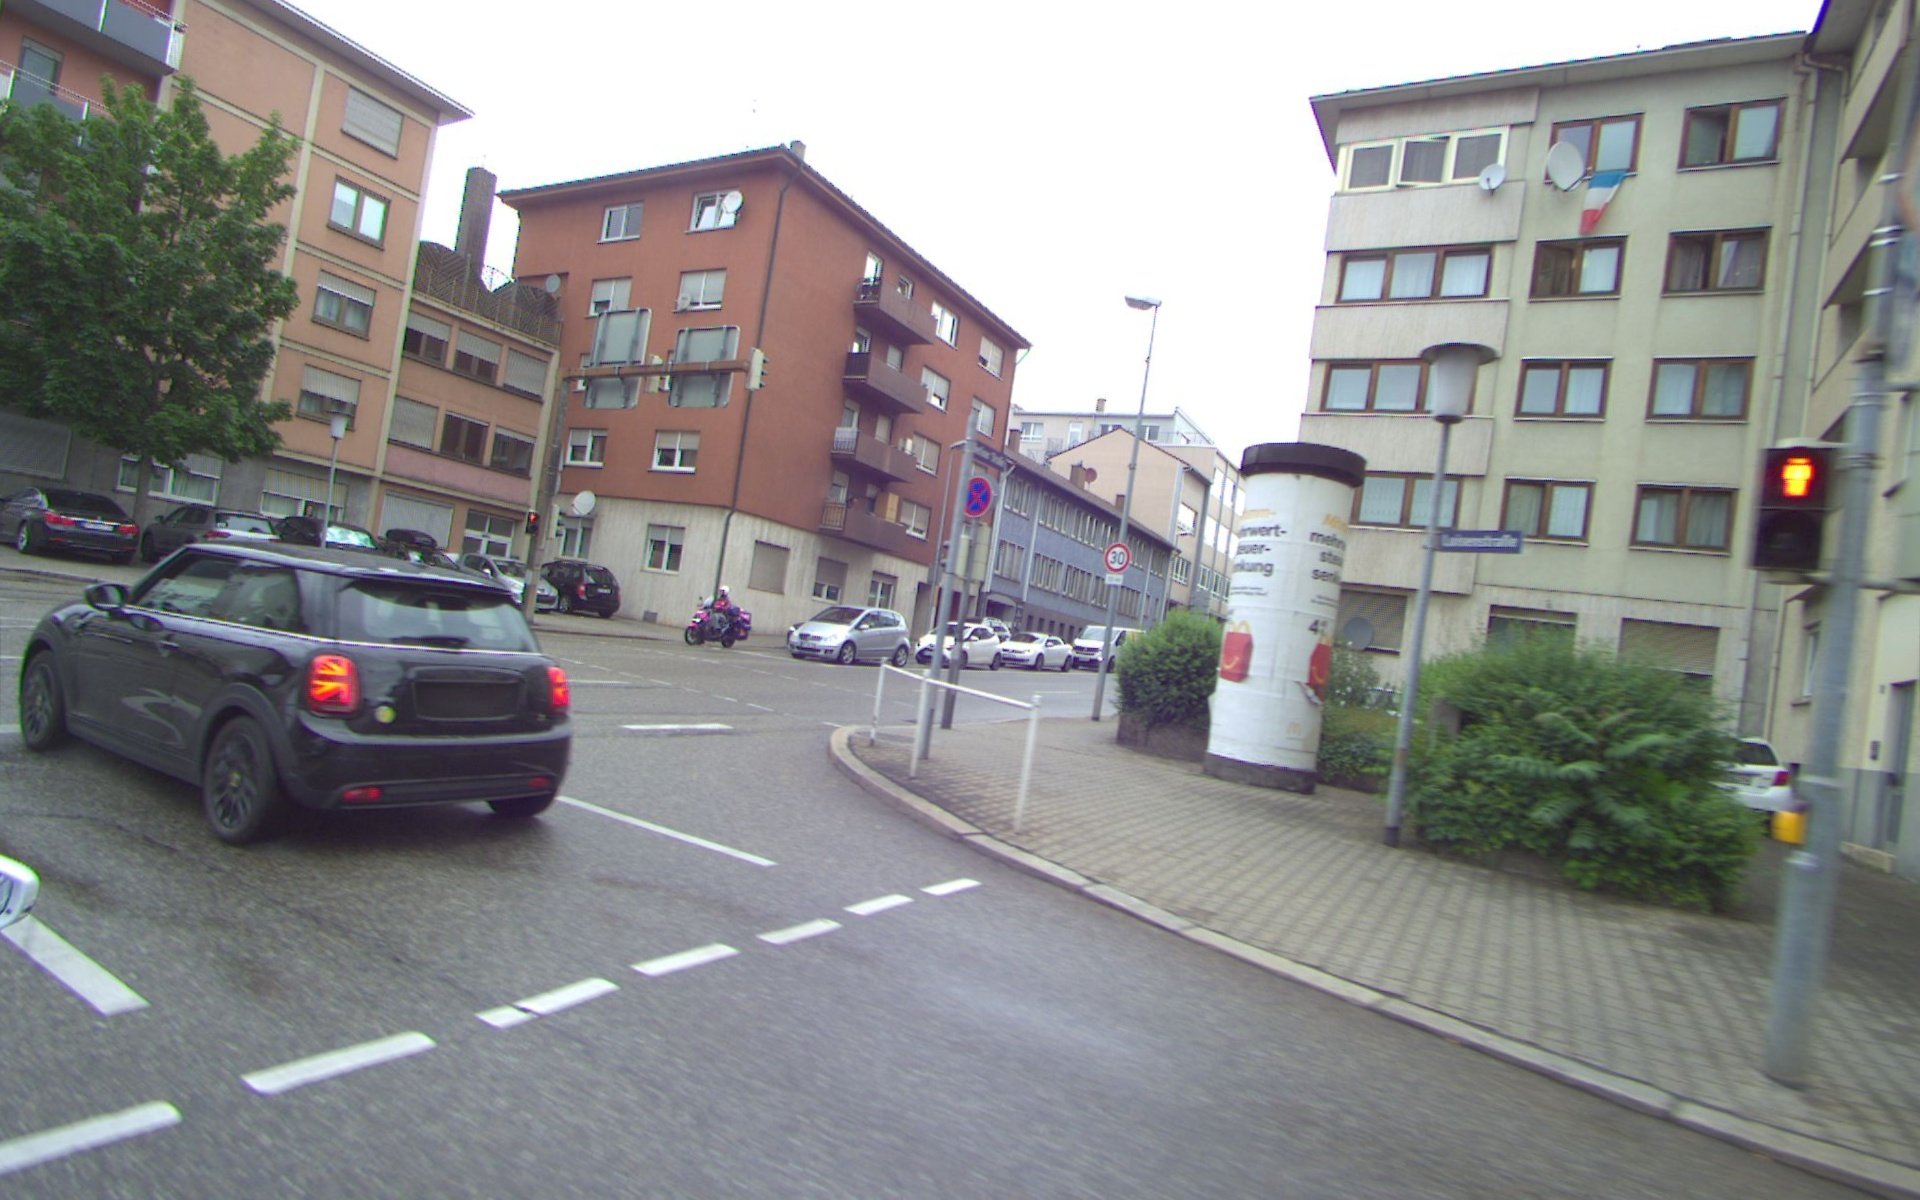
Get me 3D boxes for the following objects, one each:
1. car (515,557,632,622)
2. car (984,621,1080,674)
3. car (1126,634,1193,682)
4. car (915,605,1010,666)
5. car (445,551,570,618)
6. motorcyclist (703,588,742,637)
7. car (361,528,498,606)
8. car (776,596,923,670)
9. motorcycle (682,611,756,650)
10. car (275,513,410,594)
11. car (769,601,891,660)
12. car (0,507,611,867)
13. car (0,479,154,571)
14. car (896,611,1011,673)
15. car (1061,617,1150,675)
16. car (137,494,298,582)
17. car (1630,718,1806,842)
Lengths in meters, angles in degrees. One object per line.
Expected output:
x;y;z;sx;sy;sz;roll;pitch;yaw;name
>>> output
-13.108;-0.376;34.035;3.948;1.724;1.993;4;-5;43;car
2.773;1.811;37.878;1.819;1.572;3.994;7;-2;32;car
9.961;2.909;49.938;1.699;1.879;4.346;6;-4;32;car
0.151;1.396;38.490;1.764;1.746;4.001;6;-5;29;car
-14.102;-0.487;31.288;3.939;1.598;1.672;5;-4;36;car
-6.524;0.357;27.609;0.642;1.239;0.658;7;0;24;motorcyclist
-15.606;-0.982;29.528;3.937;1.716;1.797;7;-3;36;car
-2.942;0.937;27.545;1.810;1.572;3.994;7;-2;31;car
-6.579;0.848;27.606;0.626;0.938;2.363;6;-1;24;motorcycle
-16.752;-1.275;27.224;3.946;1.739;1.984;6;-1;43;car
-4.064;1.008;32.143;1.843;1.459;3.998;6;-2;27;car
-4.239;0.357;6.150;4.004;1.437;1.664;6;-2;31;car
-20.386;-1.752;22.788;4.718;1.572;1.847;7;-2;33;car
-0.131;1.404;32.539;1.819;1.572;3.995;7;-2;30;car
6.449;2.059;44.095;1.912;1.936;4.851;6;-4;32;car
-18.582;-1.568;25.143;3.938;1.680;1.988;7;-2;36;car
12.546;2.904;16.863;1.736;1.492;3.321;6;-1;28;car
